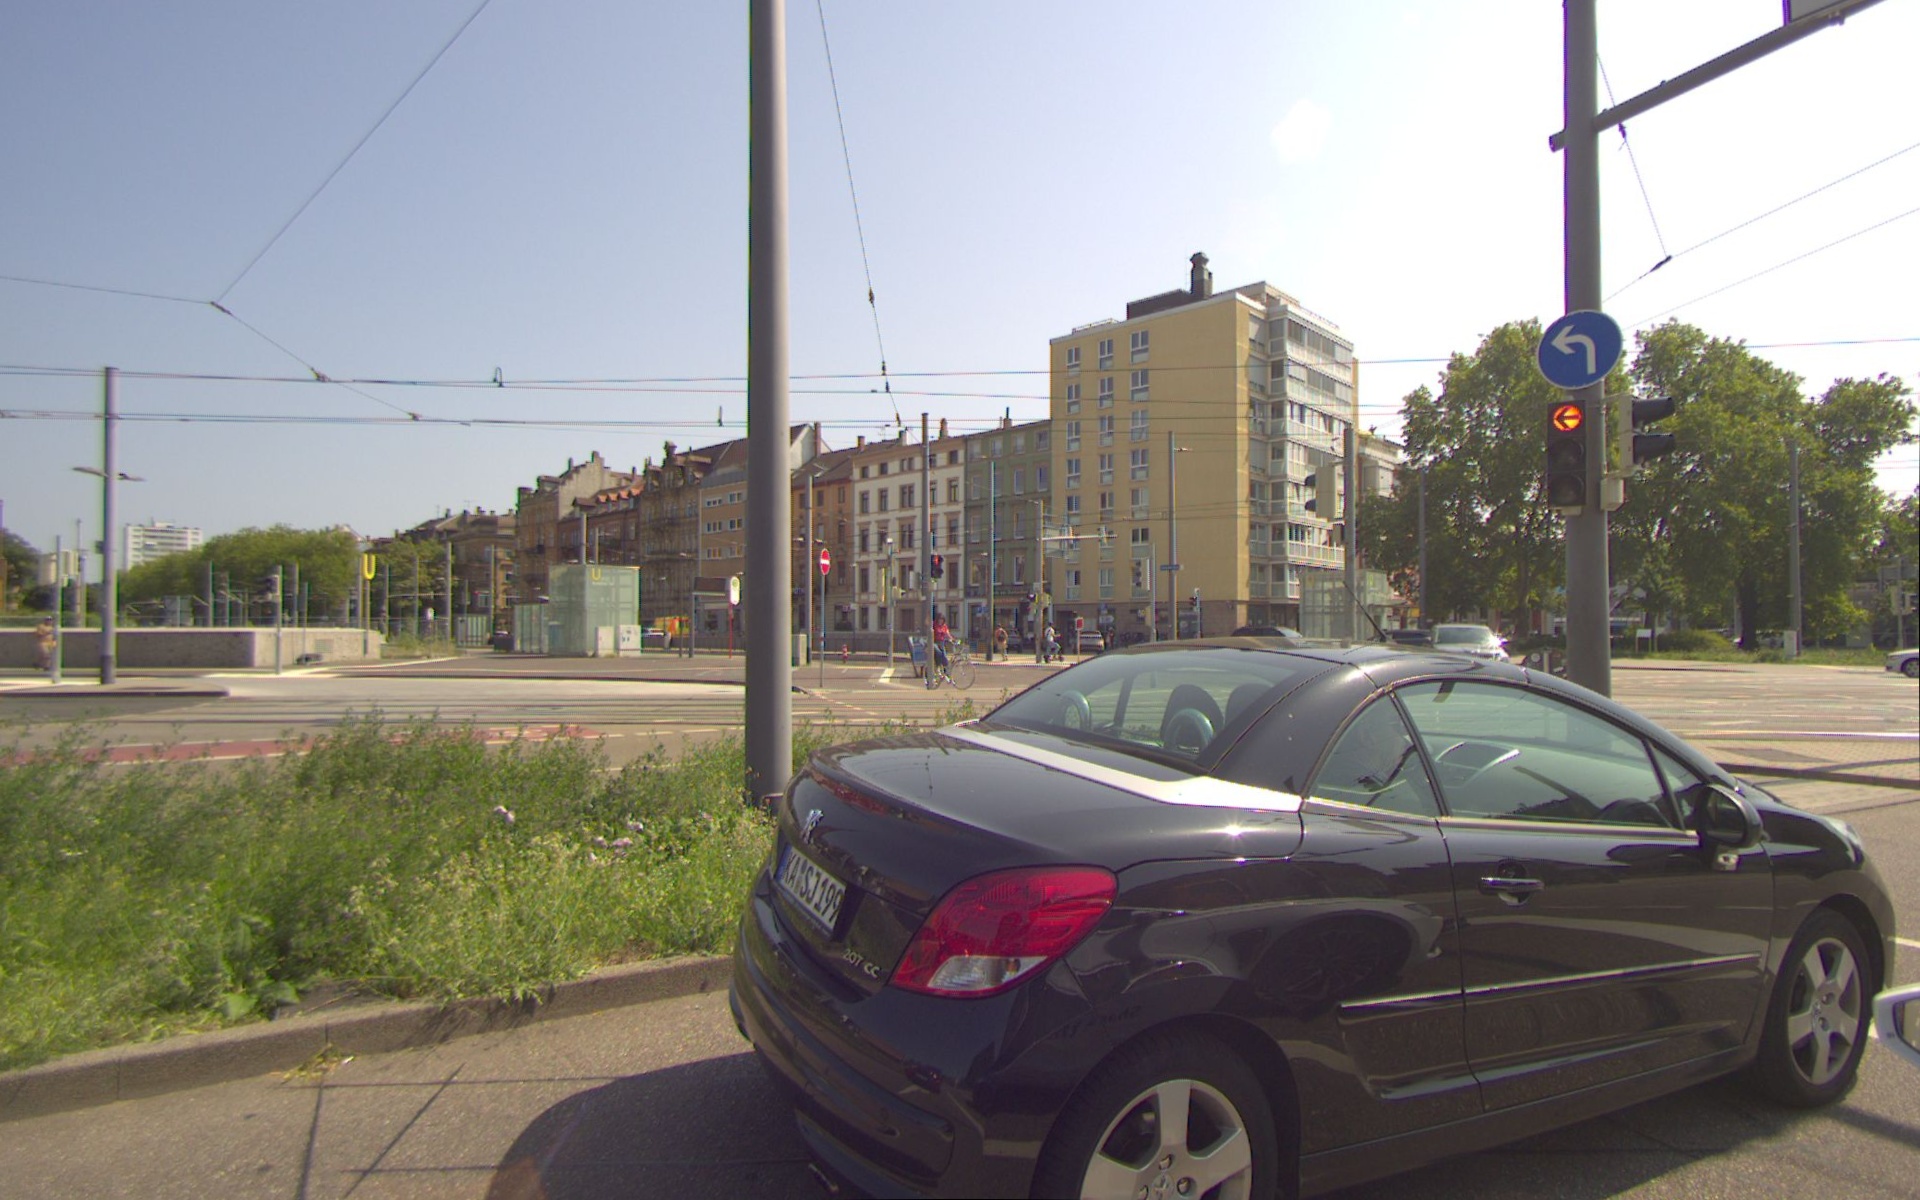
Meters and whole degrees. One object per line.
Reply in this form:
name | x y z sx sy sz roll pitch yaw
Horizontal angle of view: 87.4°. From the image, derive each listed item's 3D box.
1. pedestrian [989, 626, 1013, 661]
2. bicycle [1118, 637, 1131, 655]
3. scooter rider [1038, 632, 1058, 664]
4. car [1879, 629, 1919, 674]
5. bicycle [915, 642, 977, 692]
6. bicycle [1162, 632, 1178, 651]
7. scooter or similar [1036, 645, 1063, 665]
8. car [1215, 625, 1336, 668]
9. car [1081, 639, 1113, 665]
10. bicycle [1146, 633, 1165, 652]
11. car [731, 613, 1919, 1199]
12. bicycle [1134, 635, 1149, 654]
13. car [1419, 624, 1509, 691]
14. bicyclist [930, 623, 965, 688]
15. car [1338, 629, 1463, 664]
pedestrian | 1.877 2.004 46.359 0.850 1.563 0.736 1 -2 -35
bicycle | 11.277 3.142 68.871 0.680 1.220 2.793 0 -2 5
scooter rider | 3.870 2.115 44.157 0.602 1.371 0.682 1 -2 -35
car | 32.239 1.643 32.114 4.141 1.434 1.767 -1 -2 42
bicycle | -0.356 1.568 23.885 0.499 1.108 1.918 1 -2 -35
bicycle | 13.839 2.749 66.294 0.680 1.220 3.265 0 -2 5
scooter or similar | 3.920 2.392 43.992 1.132 0.835 0.517 1 -2 -35
car | 12.178 1.765 38.917 1.728 1.581 4.152 2 -2 -45
car | 8.346 3.146 61.475 1.712 1.528 4.002 0 -2 4
bicycle | 13.088 2.840 67.335 0.892 1.220 3.265 0 -2 5
car | 1.322 0.786 3.266 3.731 1.406 1.760 1 0 -26
bicycle | 12.300 2.988 68.026 0.680 1.220 3.265 0 -2 5
car | 13.399 1.477 26.924 1.737 1.621 4.543 0 -2 21
bicyclist | -0.293 1.307 23.934 0.632 1.529 0.553 1 -2 -36
car | 19.113 1.972 43.734 4.700 1.434 1.767 -1 -2 42
